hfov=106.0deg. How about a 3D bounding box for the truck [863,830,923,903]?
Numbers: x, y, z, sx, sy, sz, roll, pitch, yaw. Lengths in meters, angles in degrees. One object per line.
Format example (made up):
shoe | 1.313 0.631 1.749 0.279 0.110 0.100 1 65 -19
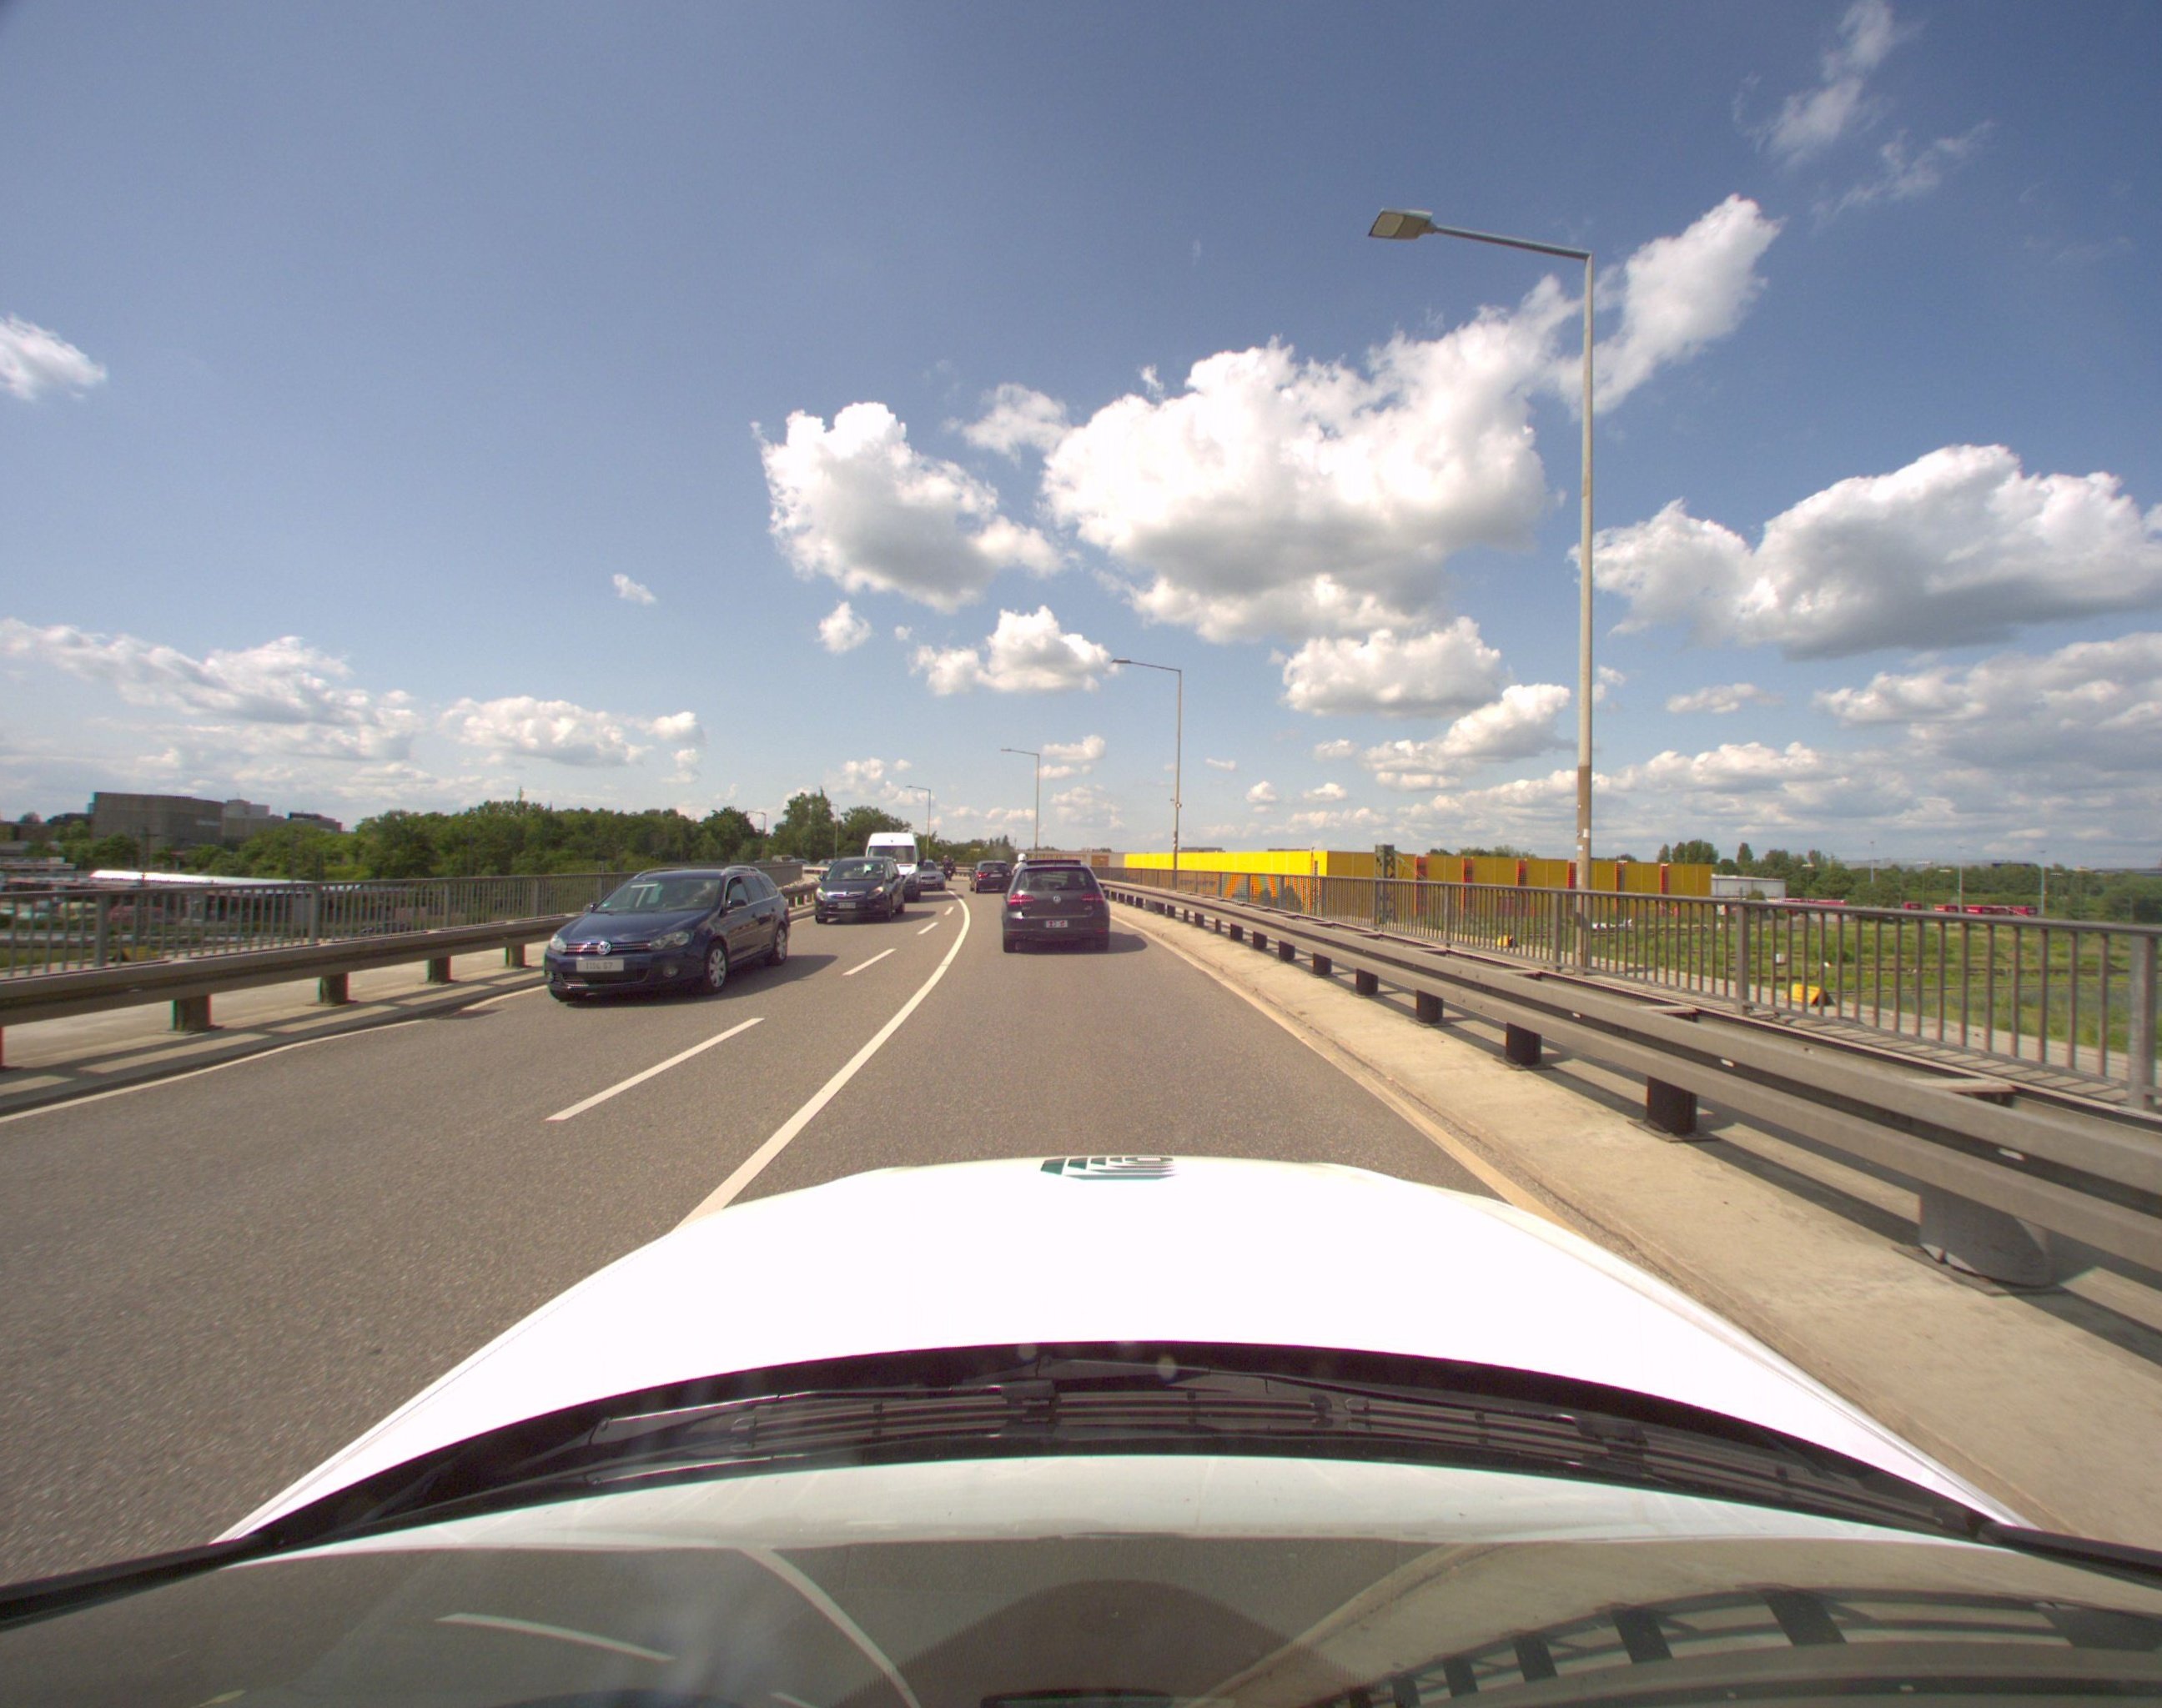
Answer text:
truck | -7.092 0.435 31.055 1.995 2.507 5.923 -1 0 -12

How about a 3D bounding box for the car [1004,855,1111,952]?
car | -0.410 0.784 14.443 1.638 1.479 3.869 0 -1 -2

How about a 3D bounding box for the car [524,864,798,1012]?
car | -5.108 0.889 10.635 1.656 1.454 4.318 -1 0 -5

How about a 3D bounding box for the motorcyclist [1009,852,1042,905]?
motorcyclist | -1.734 0.756 25.359 0.965 1.620 1.122 0 -1 -7

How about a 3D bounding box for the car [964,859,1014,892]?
car | -4.149 0.958 36.370 1.685 1.388 3.720 -1 -1 -15

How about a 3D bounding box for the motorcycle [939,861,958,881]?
motorcycle | -8.702 1.093 53.462 0.890 1.247 2.384 0 0 -18

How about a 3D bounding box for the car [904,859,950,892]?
car | -7.520 1.011 39.498 1.770 1.460 4.274 -2 0 -16

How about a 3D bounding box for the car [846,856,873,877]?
car | -18.037 0.978 66.166 1.690 1.596 4.253 -2 0 -21

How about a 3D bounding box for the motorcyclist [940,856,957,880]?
motorcyclist | -8.708 0.923 53.508 0.969 1.596 1.118 0 -1 -19

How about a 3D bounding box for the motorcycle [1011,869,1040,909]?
motorcycle | -1.727 1.053 25.186 0.788 1.132 2.393 0 0 -7

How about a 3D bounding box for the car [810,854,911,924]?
car | -5.700 0.845 21.588 1.714 1.632 4.421 -1 0 -4
